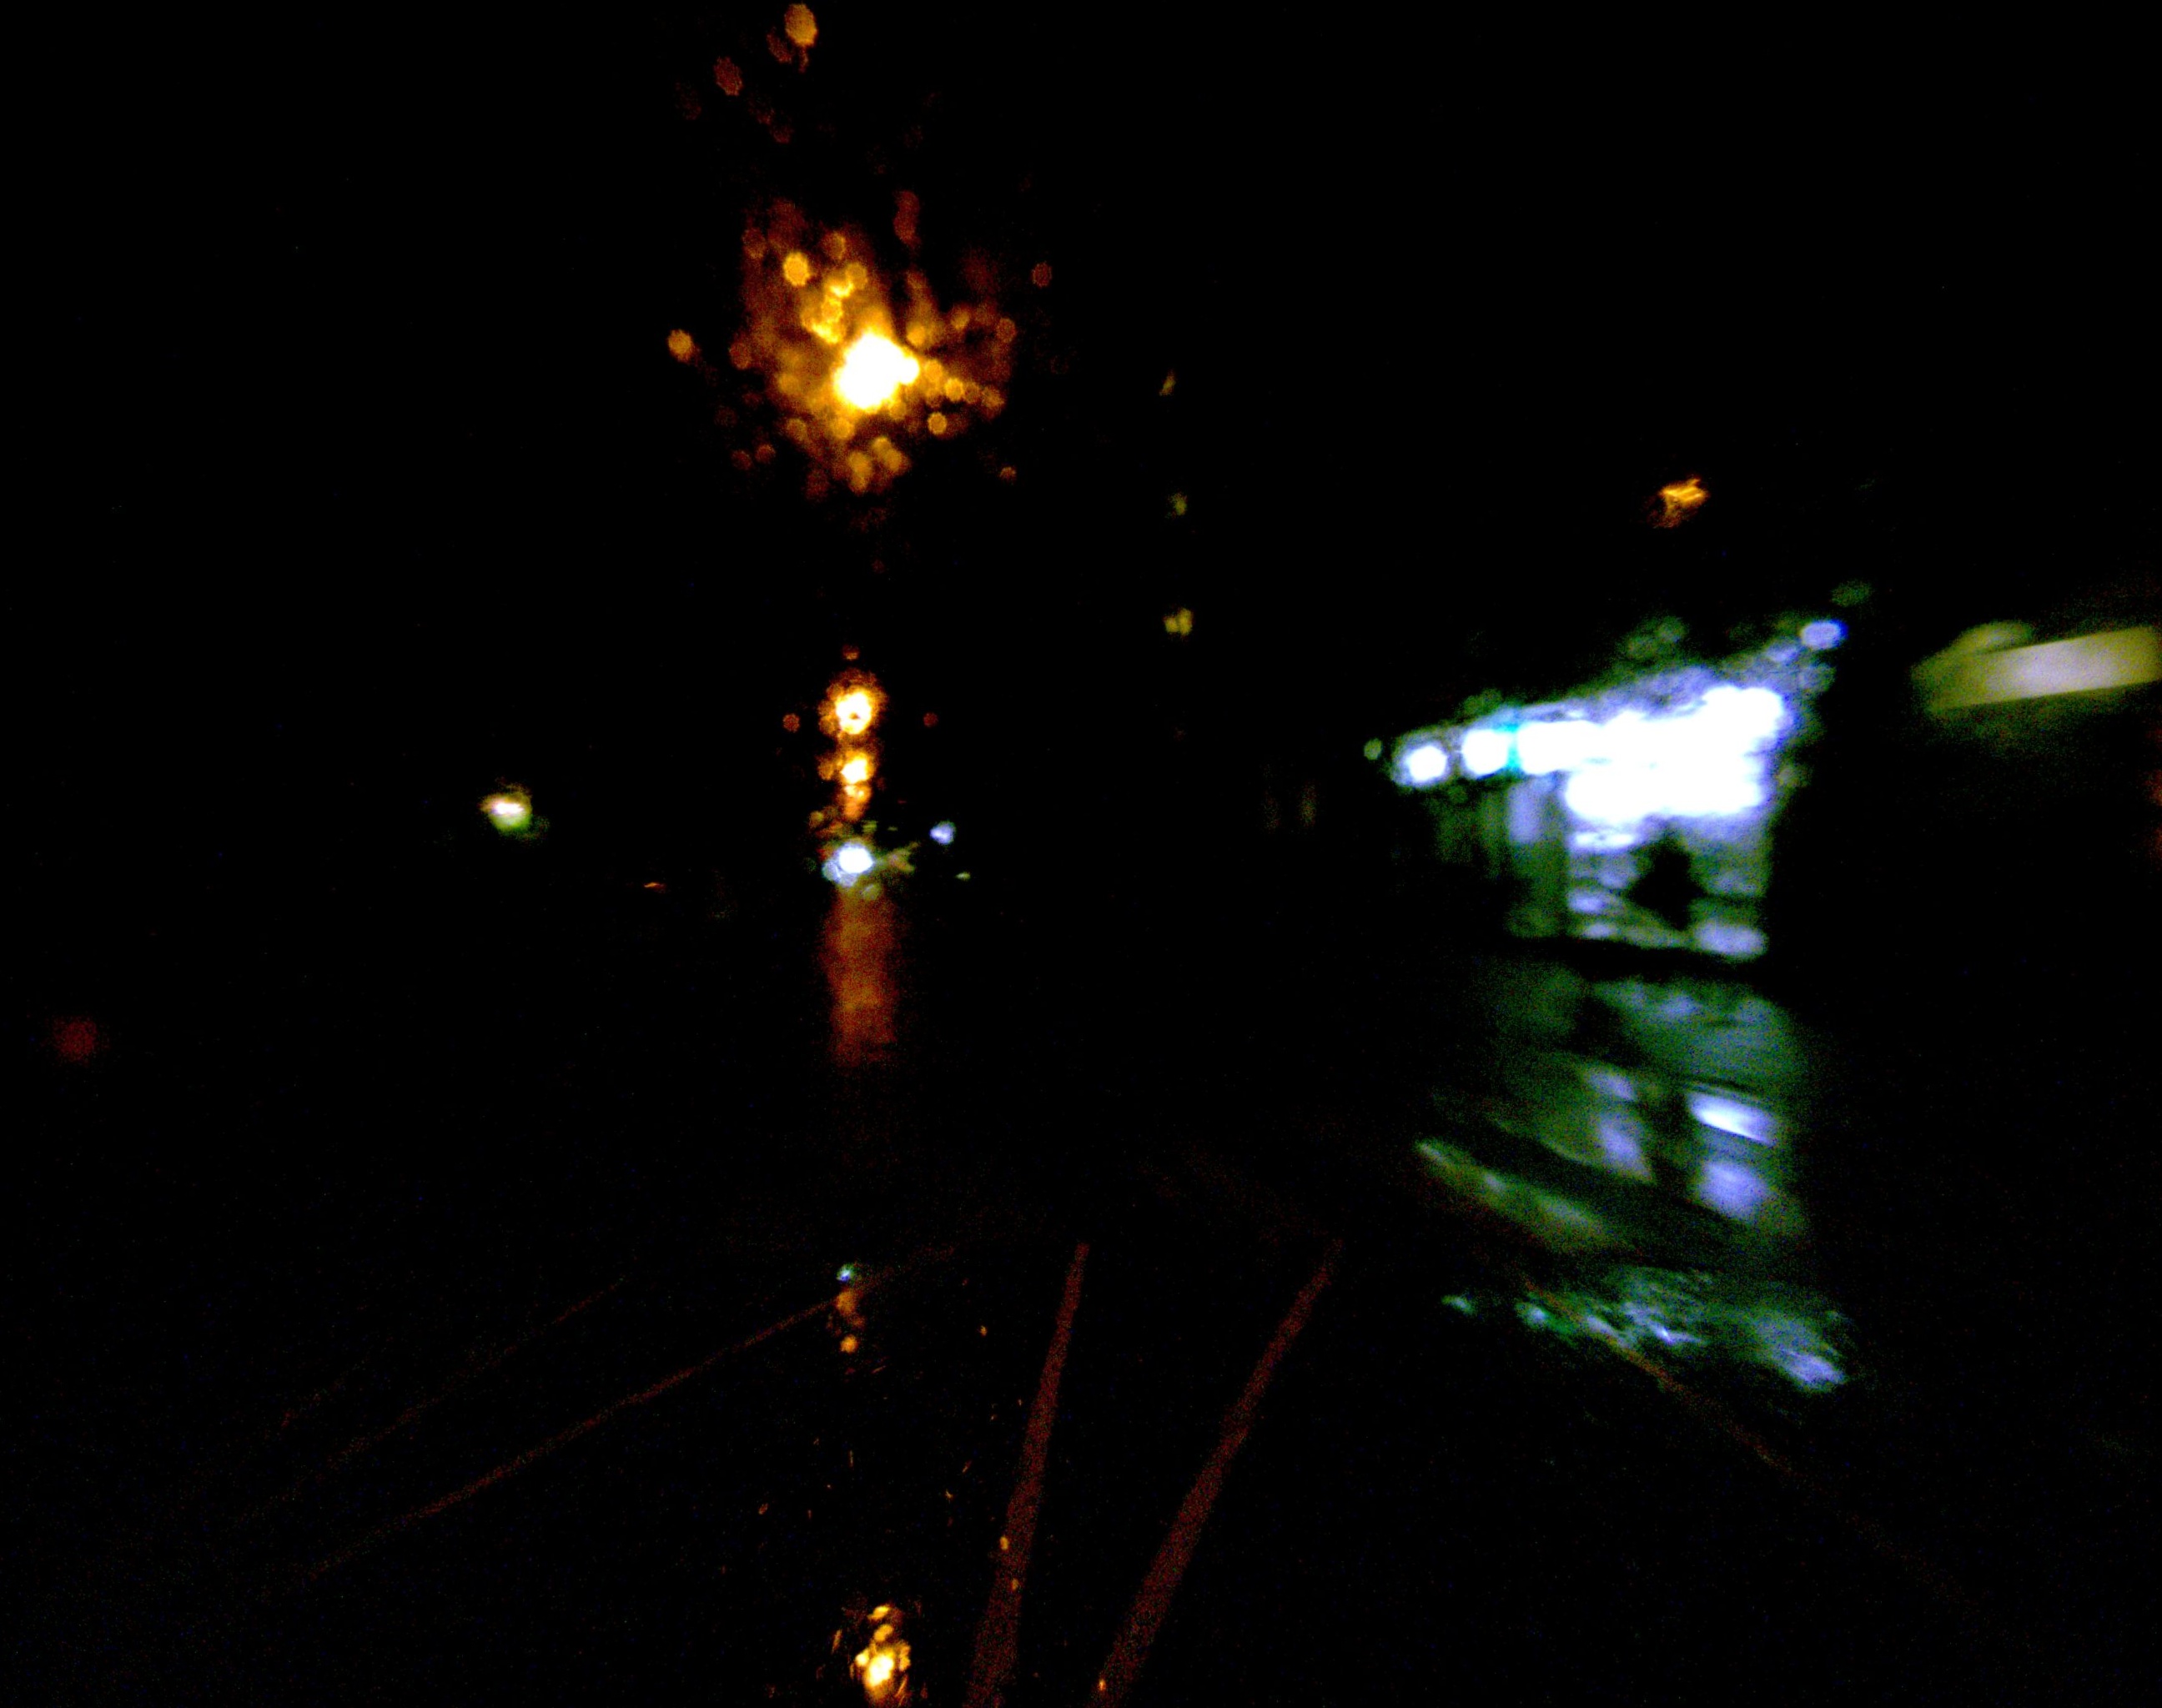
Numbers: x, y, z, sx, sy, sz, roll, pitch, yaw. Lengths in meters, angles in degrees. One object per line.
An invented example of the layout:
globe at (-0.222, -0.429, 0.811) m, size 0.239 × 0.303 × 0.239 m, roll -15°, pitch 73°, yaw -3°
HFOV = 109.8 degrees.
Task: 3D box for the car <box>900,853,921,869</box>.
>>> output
car at (-17.975, 0.711, 80.067) m, size 1.854 × 1.571 × 3.729 m, roll -3°, pitch 1°, yaw -17°

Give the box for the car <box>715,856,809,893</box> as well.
car at (-15.714, 0.991, 37.467) m, size 3.942 × 1.732 × 1.706 m, roll 1°, pitch 0°, yaw -39°

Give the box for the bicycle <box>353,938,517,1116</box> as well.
bicycle at (-4.734, 1.199, 5.537) m, size 1.641 × 1.020 × 0.337 m, roll 2°, pitch 1°, yaw 29°

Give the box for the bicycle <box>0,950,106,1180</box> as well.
bicycle at (-6.217, 1.169, 4.462) m, size 0.337 × 1.020 × 1.641 m, roll 0°, pitch 1°, yaw -43°

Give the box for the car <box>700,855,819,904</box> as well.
car at (-12.398, 0.947, 29.498) m, size 1.738 × 1.782 × 3.943 m, roll 0°, pitch 0°, yaw 36°

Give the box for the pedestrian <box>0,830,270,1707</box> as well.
pedestrian at (-2.170, 0.856, 1.282) m, size 0.828 × 1.761 × 0.600 m, roll -2°, pitch 1°, yaw -4°

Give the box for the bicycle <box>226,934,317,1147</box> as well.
bicycle at (-5.434, 1.164, 5.114) m, size 1.641 × 1.021 × 0.336 m, roll 4°, pitch 5°, yaw 43°

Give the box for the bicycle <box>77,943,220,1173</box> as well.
bicycle at (-5.787, 1.170, 4.769) m, size 0.337 × 1.086 × 1.642 m, roll 0°, pitch -1°, yaw -43°

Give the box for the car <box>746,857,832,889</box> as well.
car at (-15.540, 0.978, 40.570) m, size 3.942 × 1.610 × 1.706 m, roll 1°, pitch 0°, yaw -39°

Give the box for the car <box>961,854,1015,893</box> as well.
car at (-3.995, 0.796, 32.294) m, size 1.722 × 1.470 × 3.780 m, roll -3°, pitch 1°, yaw -14°

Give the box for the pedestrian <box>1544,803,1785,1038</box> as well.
pedestrian at (5.157, 0.519, 6.821) m, size 0.959 × 1.852 × 1.413 m, roll -1°, pitch 1°, yaw -18°

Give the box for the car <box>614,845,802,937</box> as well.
car at (-9.044, 0.822, 18.652) m, size 1.716 × 2.016 × 3.748 m, roll 0°, pitch 0°, yaw 38°

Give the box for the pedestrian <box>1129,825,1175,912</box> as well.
pedestrian at (1.883, 0.377, 20.271) m, size 0.802 × 2.228 × 1.115 m, roll -1°, pitch 1°, yaw -18°

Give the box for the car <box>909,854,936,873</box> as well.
car at (-13.356, 0.804, 63.989) m, size 1.854 × 1.470 × 3.729 m, roll -3°, pitch 1°, yaw -17°

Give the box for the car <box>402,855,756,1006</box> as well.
car at (-6.790, 0.885, 10.590) m, size 1.766 × 1.702 × 3.748 m, roll 0°, pitch 0°, yaw 39°

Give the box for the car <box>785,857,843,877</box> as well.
car at (-21.143, 1.031, 60.223) m, size 3.942 × 1.553 × 1.706 m, roll 1°, pitch 0°, yaw -40°

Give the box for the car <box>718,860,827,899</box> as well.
car at (-13.117, 1.033, 32.496) m, size 1.738 × 1.540 × 3.943 m, roll 0°, pitch 0°, yaw 40°

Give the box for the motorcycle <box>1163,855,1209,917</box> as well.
motorcycle at (2.616, 0.763, 19.048) m, size 0.539 × 1.462 × 1.455 m, roll -3°, pitch 1°, yaw -17°

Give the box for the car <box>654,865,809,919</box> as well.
car at (-10.867, 1.136, 23.867) m, size 1.674 × 1.444 × 4.065 m, roll -1°, pitch 0°, yaw 38°

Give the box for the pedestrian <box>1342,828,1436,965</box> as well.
pedestrian at (4.371, 0.575, 10.838) m, size 0.677 × 1.822 × 1.076 m, roll -3°, pitch 1°, yaw -15°

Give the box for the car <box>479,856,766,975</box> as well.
car at (-7.612, 0.901, 12.903) m, size 1.743 × 1.702 × 3.802 m, roll 0°, pitch 0°, yaw 39°

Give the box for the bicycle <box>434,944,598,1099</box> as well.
bicycle at (-4.484, 1.269, 6.001) m, size 1.642 × 1.020 × 0.336 m, roll -1°, pitch 0°, yaw 27°

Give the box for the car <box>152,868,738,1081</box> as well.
car at (-6.073, 0.943, 7.830) m, size 4.272 × 1.564 × 1.767 m, roll 1°, pitch 0°, yaw -45°

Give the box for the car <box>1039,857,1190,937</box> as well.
car at (0.549, 0.833, 17.275) m, size 1.854 × 1.470 × 5.023 m, roll -2°, pitch 1°, yaw -16°

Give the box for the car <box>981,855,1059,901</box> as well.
car at (-2.278, 0.789, 27.215) m, size 1.723 × 1.470 × 4.153 m, roll -2°, pitch 1°, yaw -20°

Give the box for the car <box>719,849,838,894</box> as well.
car at (-13.903, 0.784, 35.138) m, size 1.974 × 1.968 × 4.722 m, roll 0°, pitch 0°, yaw 44°

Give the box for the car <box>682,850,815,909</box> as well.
car at (-11.676, 0.863, 26.880) m, size 1.738 × 1.931 × 3.943 m, roll 0°, pitch 0°, yaw 36°

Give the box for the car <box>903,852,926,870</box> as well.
car at (-16.466, 0.682, 75.182) m, size 1.854 × 1.571 × 3.729 m, roll -3°, pitch 1°, yaw -17°

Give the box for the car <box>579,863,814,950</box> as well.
car at (-8.028, 0.999, 16.089) m, size 4.081 × 1.588 × 1.829 m, roll 1°, pitch 0°, yaw -44°

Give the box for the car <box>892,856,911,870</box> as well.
car at (-20.763, 1.031, 87.691) m, size 1.854 × 1.571 × 3.729 m, roll -3°, pitch 1°, yaw -17°
